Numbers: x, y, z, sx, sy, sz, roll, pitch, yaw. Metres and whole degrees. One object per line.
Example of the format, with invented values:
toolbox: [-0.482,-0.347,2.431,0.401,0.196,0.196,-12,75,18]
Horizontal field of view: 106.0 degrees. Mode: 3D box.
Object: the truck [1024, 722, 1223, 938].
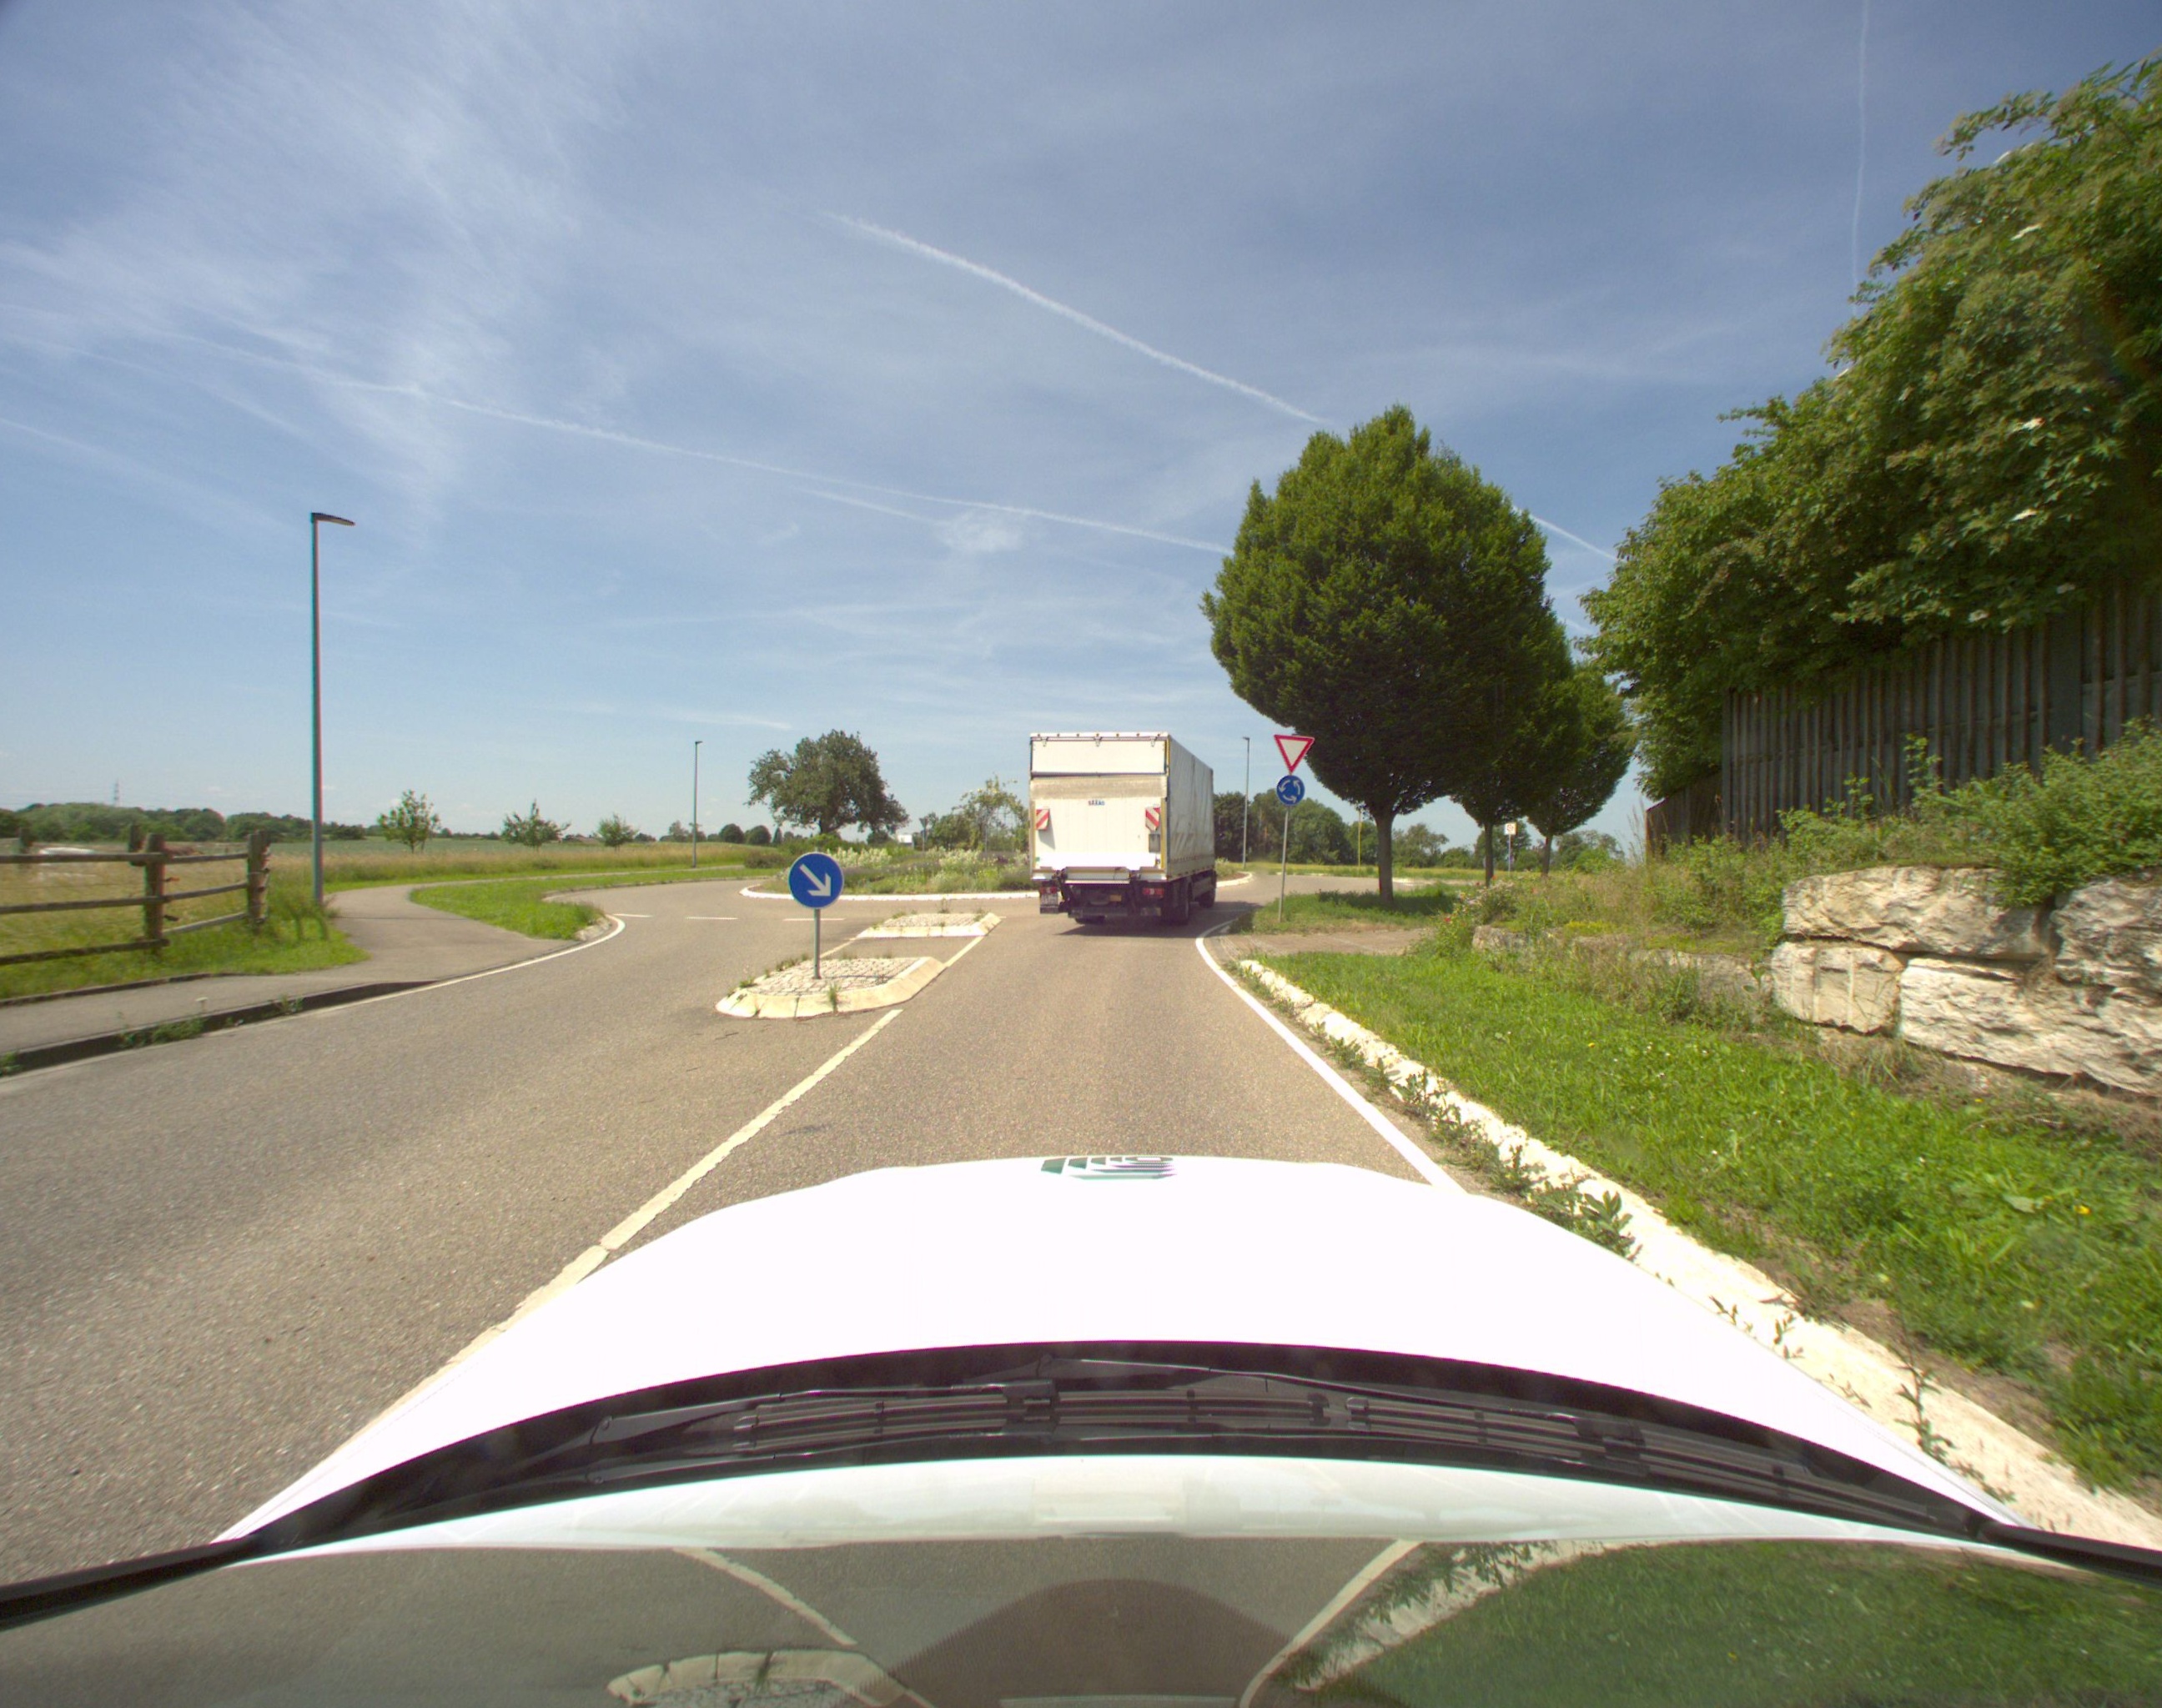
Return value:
truck: [1.494,-0.440,18.771,2.747,3.670,9.419,0,0,15]
